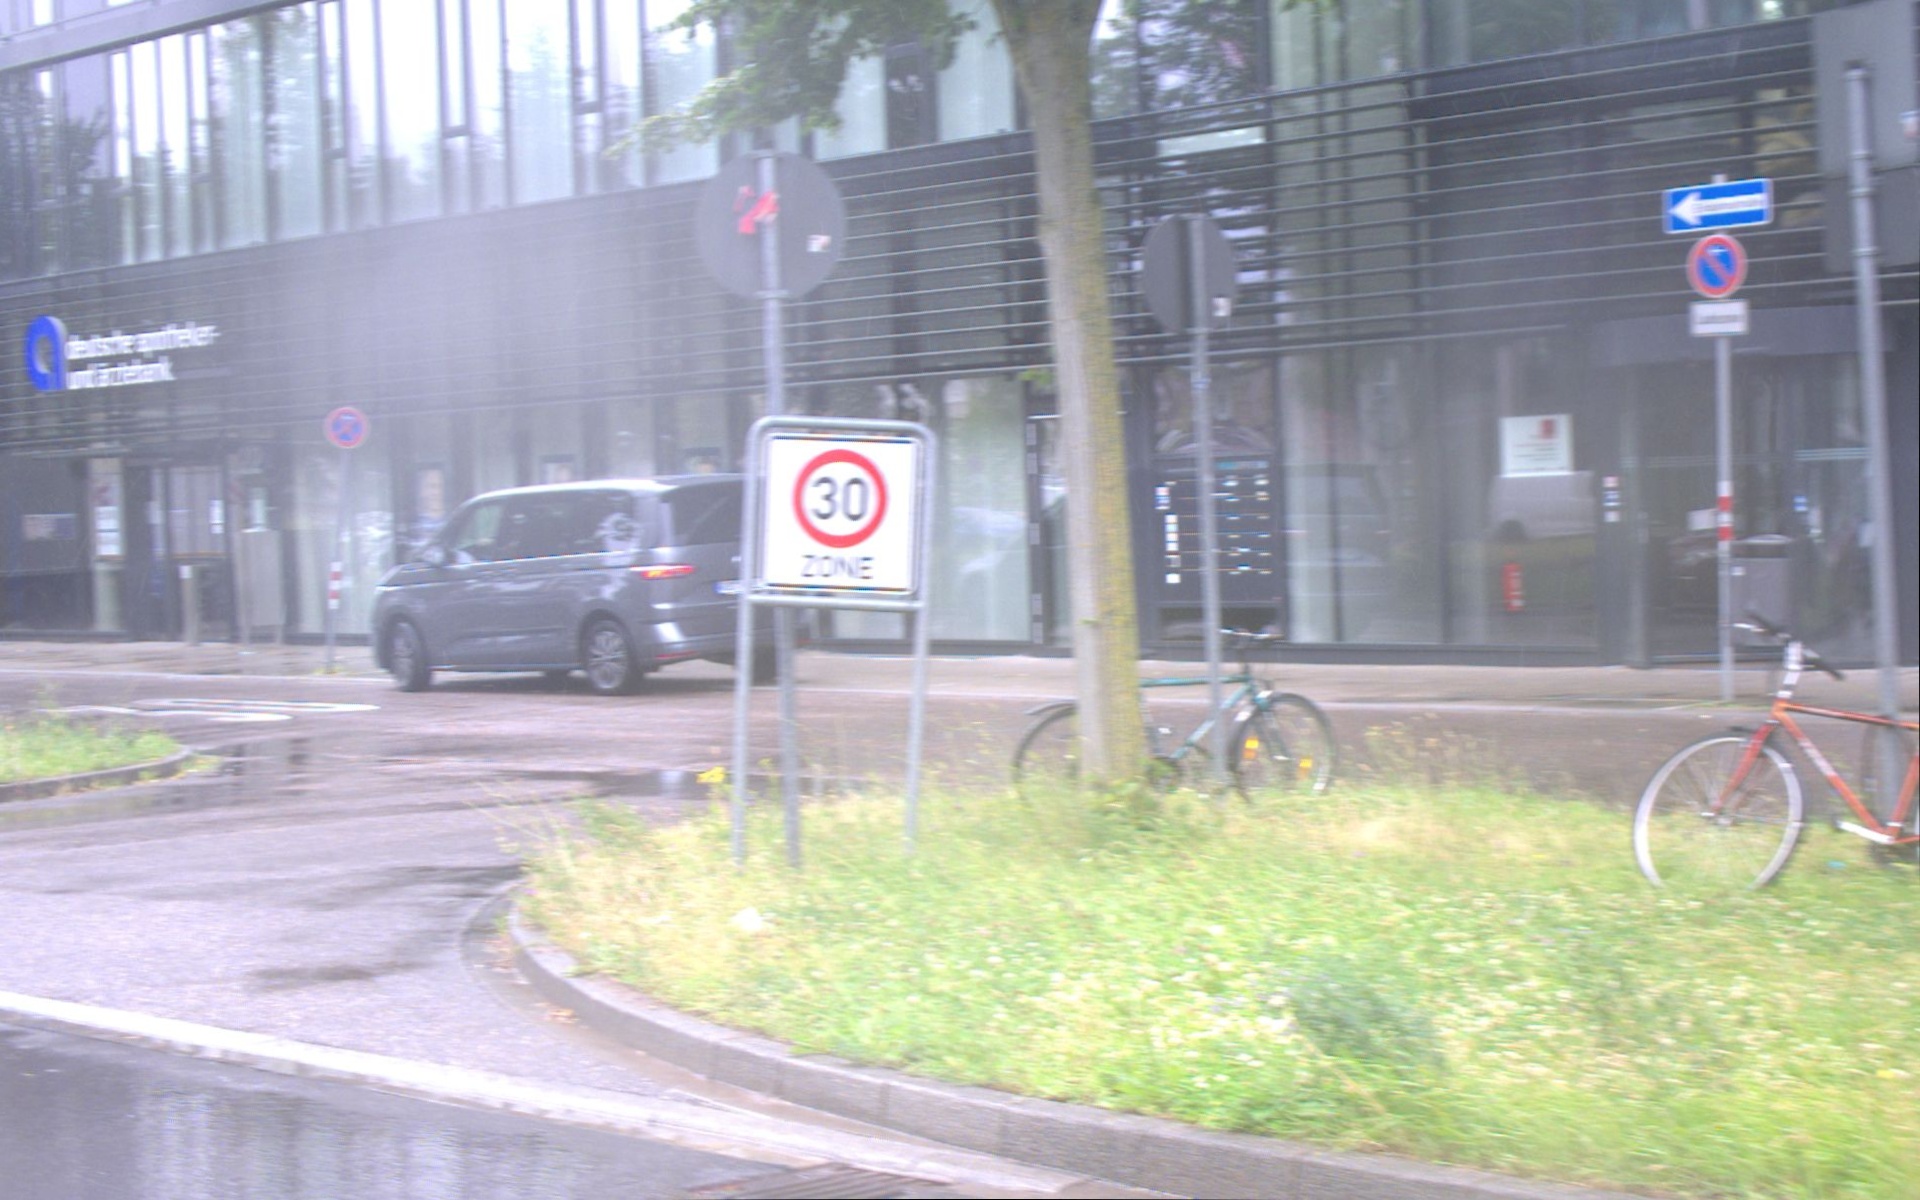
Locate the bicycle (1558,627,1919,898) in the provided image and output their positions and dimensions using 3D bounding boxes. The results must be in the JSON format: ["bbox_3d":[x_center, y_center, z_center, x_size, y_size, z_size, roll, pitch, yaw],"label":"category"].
[{"bbox_3d":[3.127,0.568,12.184,1.912,0.859,0.573,2,4,32],"label":"bicycle"}]

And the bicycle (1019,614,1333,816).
[{"bbox_3d":[1.047,0.550,16.700,1.457,0.914,0.433,-1,3,-10],"label":"bicycle"}]

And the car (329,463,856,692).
[{"bbox_3d":[-3.466,-0.217,31.651,1.995,1.913,5.146,-3,2,-45],"label":"car"}]
